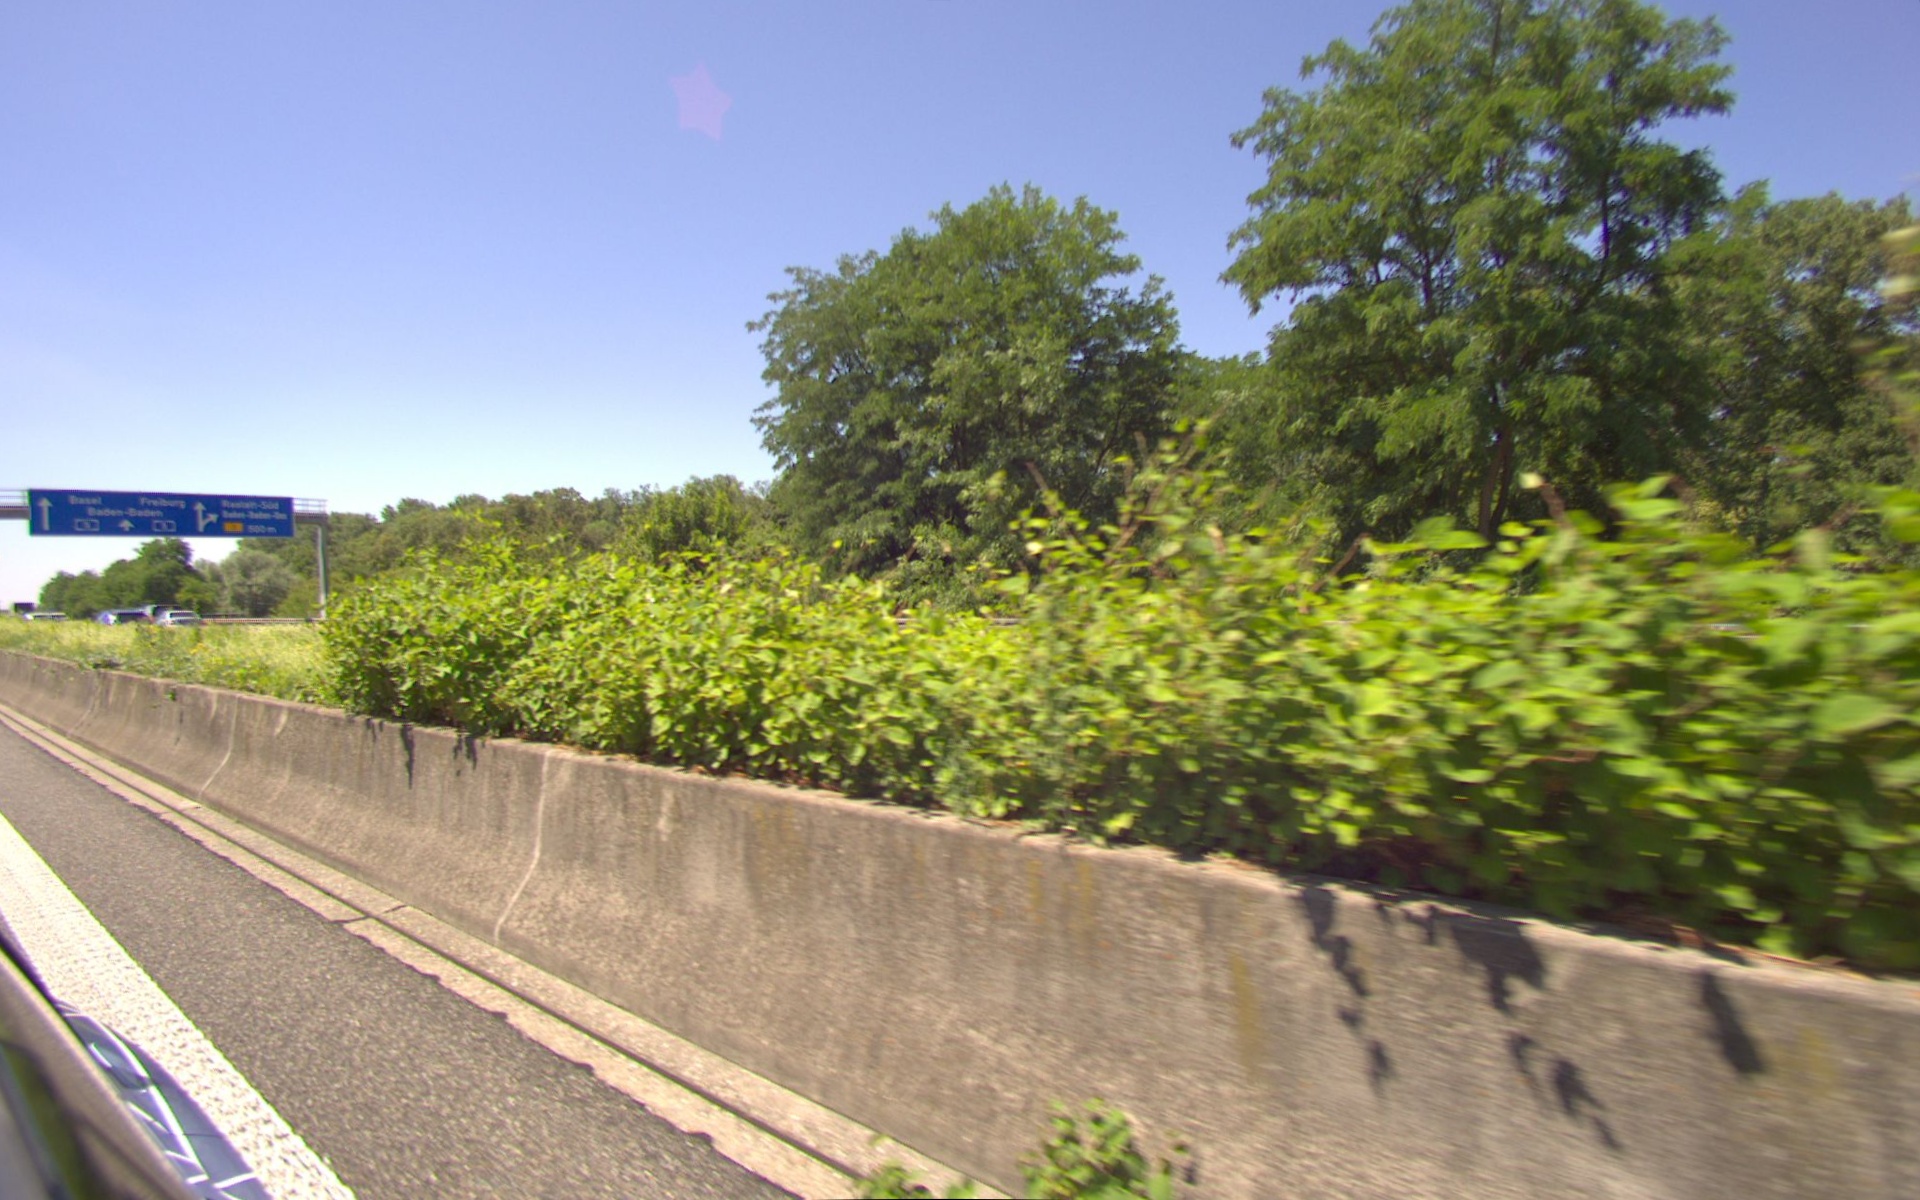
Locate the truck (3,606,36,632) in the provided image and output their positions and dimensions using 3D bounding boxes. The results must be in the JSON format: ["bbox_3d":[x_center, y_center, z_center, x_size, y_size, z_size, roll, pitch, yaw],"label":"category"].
[{"bbox_3d":[-160.272,3.201,172.430,14.497,4.262,3.143,-1,-1,44],"label":"truck"}]

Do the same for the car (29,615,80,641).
[{"bbox_3d":[-50.927,1.557,56.911,3.642,1.392,1.680,-1,0,41],"label":"car"}]

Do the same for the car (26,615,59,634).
[{"bbox_3d":[-78.399,2.099,86.481,3.998,1.586,1.618,-1,-1,41],"label":"car"}]

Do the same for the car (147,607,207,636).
[{"bbox_3d":[-42.650,1.145,55.105,4.717,1.486,1.679,-1,0,41],"label":"car"}]

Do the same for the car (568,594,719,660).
[{"bbox_3d":[-8.890,0.722,28.181,4.759,1.699,1.795,-1,0,41],"label":"car"}]

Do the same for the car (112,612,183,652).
[{"bbox_3d":[-32.324,1.248,40.240,3.998,1.497,1.550,-1,0,42],"label":"car"}]
